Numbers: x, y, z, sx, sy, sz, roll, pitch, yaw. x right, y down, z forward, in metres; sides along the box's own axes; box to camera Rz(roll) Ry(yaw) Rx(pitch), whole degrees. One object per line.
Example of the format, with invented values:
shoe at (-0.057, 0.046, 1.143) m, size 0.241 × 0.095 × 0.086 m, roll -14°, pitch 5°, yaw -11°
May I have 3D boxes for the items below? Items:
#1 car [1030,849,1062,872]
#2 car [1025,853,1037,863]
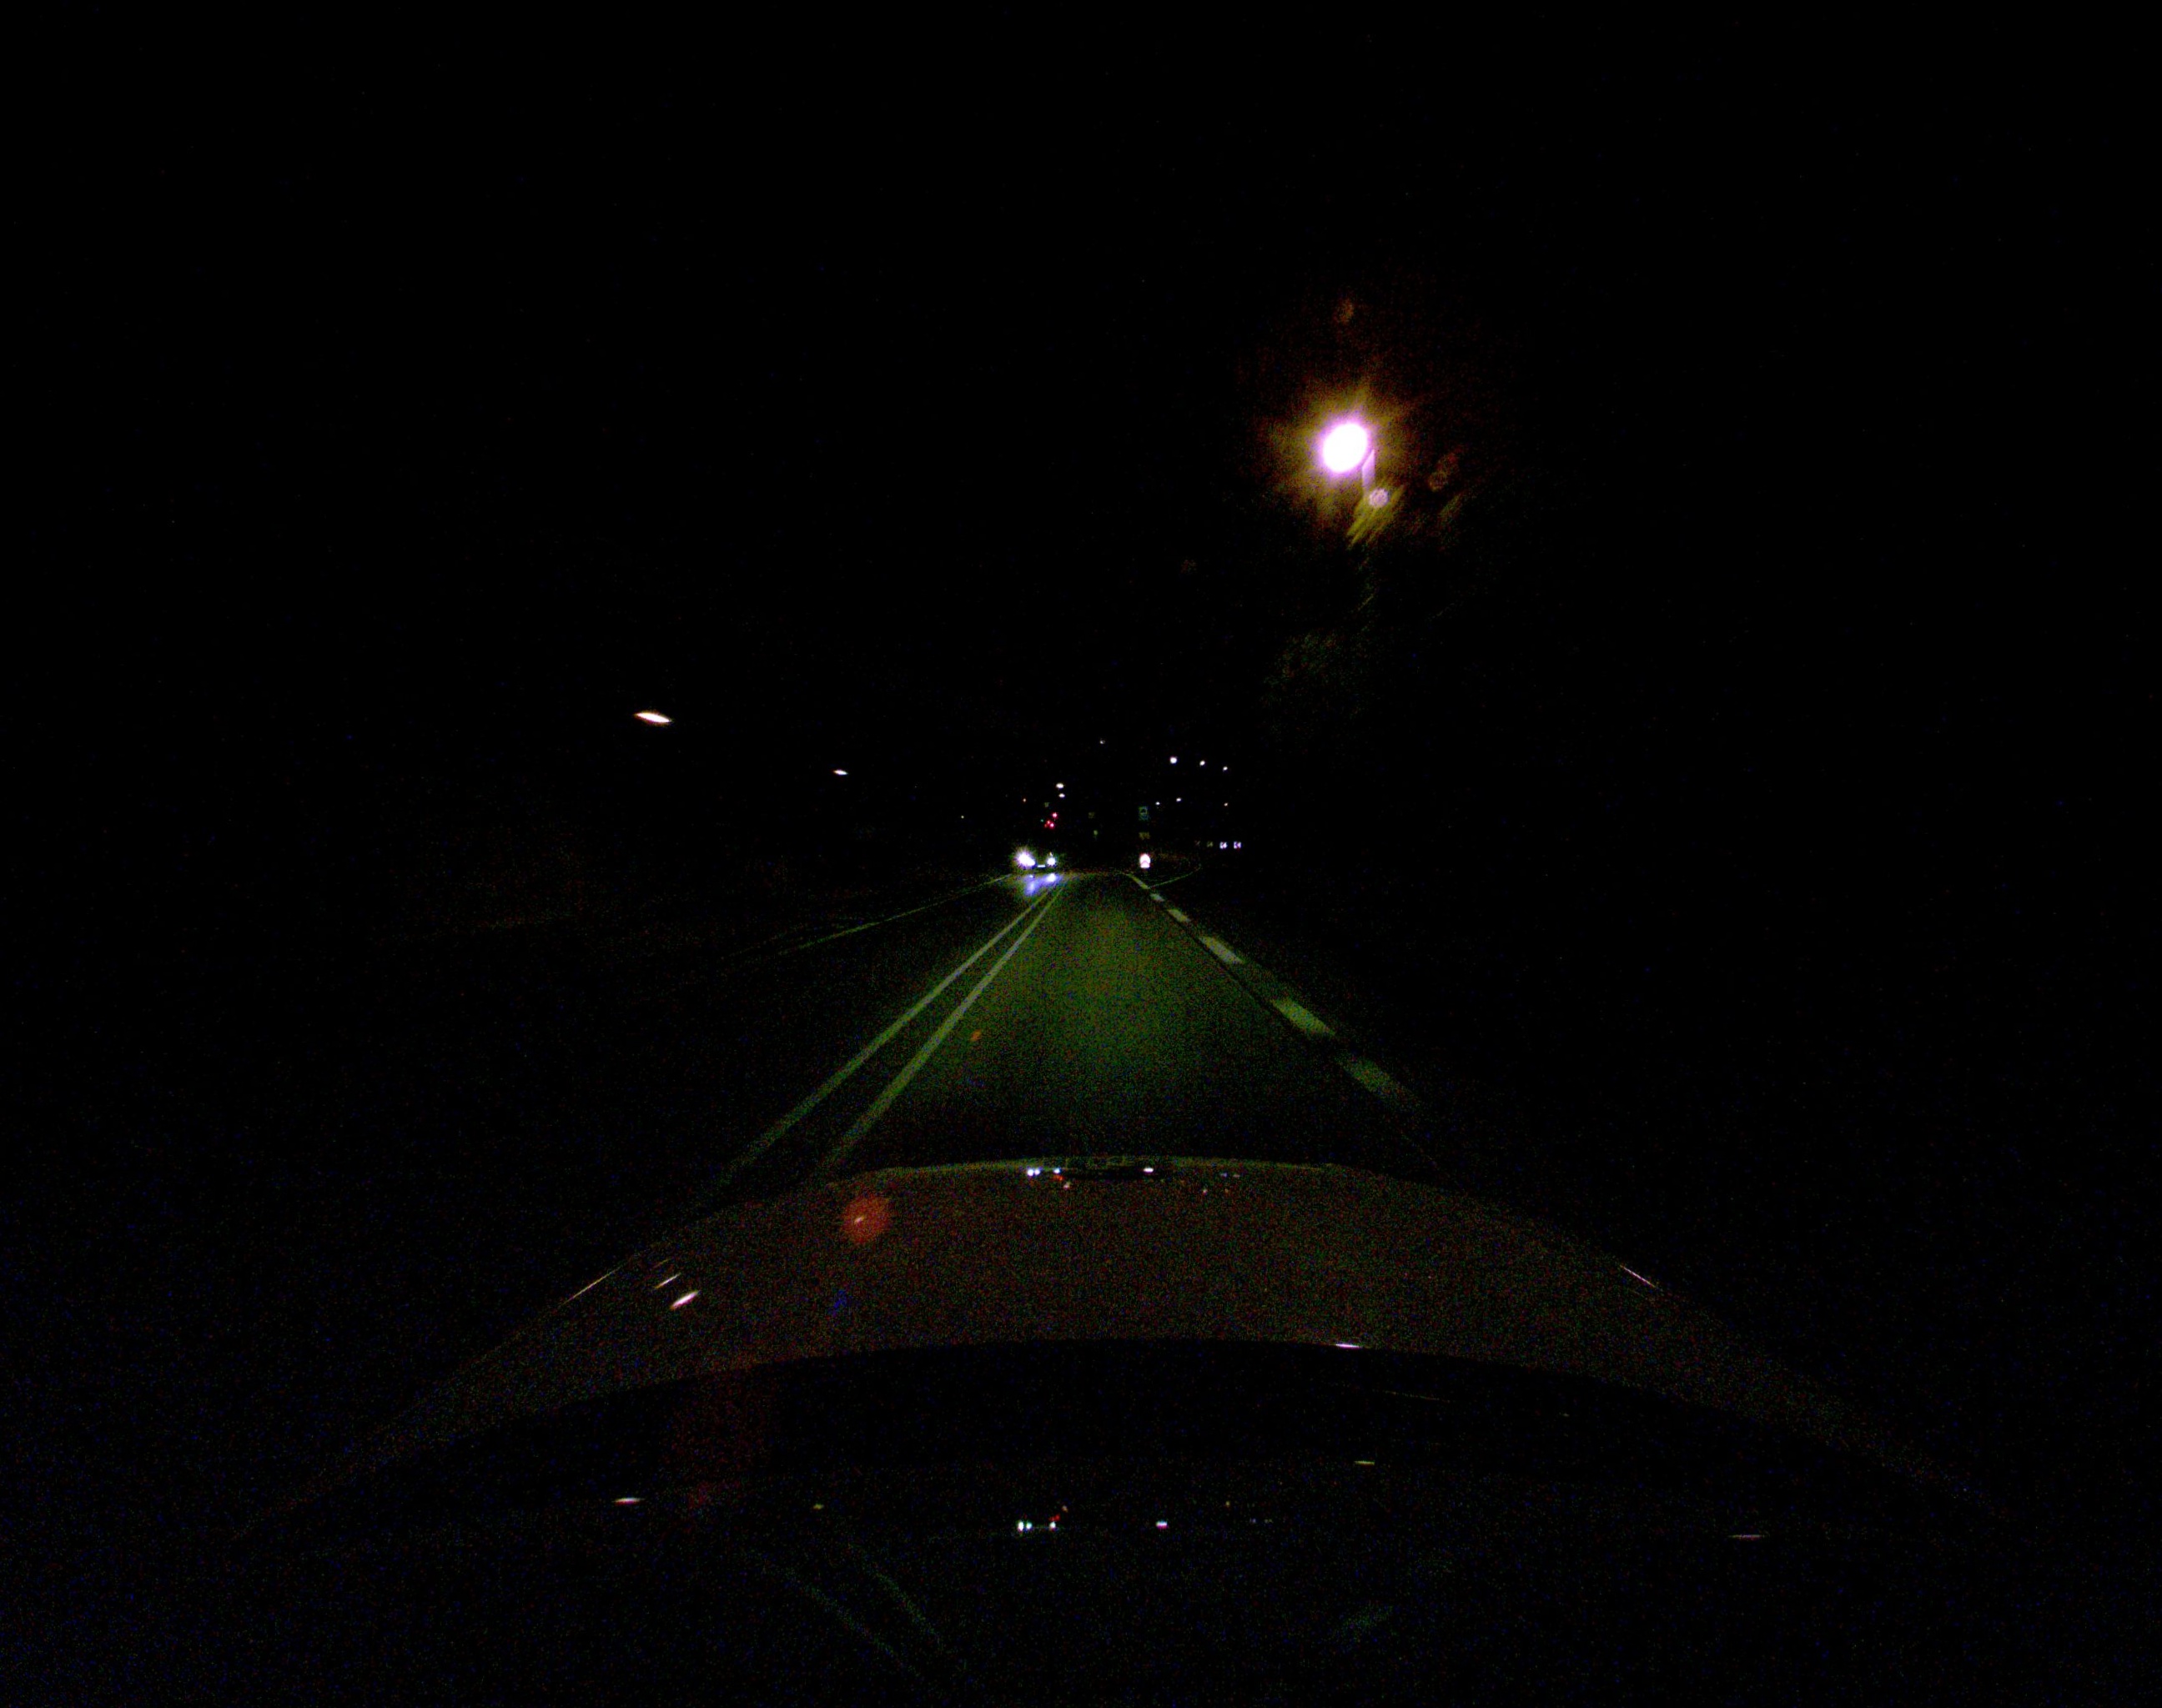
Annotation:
car at (-2.511, 0.460, 59.612) m, size 1.874 × 1.554 × 4.221 m, roll -3°, pitch -1°, yaw 3°
car at (-7.846, 0.595, 127.411) m, size 1.785 × 1.447 × 4.163 m, roll -2°, pitch -1°, yaw -6°
